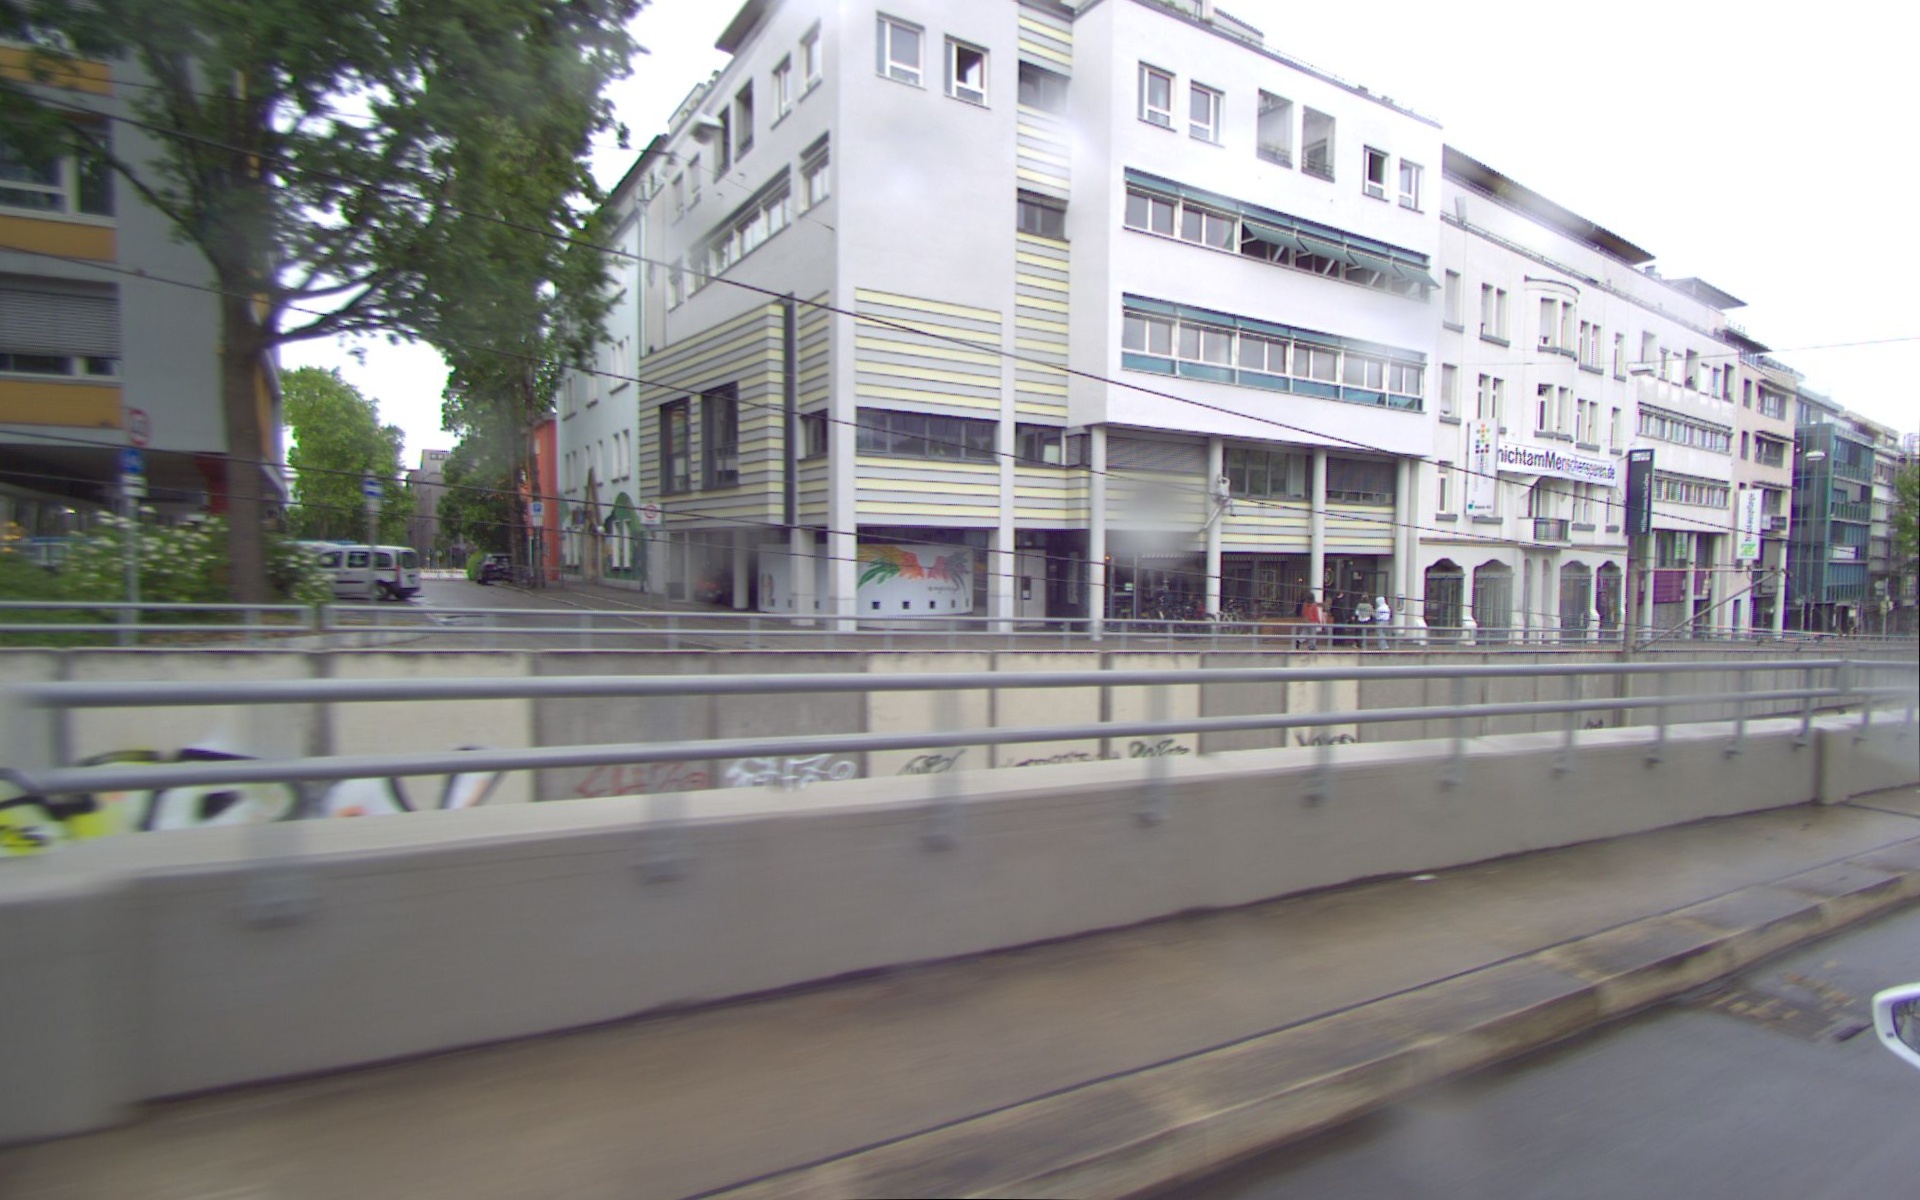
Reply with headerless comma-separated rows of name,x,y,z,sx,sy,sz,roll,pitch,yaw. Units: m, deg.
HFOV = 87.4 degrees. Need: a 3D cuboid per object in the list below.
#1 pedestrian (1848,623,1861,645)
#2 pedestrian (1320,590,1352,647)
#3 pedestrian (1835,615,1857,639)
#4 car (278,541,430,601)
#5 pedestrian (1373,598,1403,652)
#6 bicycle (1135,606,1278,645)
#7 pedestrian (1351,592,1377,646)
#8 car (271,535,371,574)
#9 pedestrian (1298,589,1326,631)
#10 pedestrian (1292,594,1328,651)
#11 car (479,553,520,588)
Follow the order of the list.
pedestrian,70.076,2.633,78.691,0.483,1.694,0.659,1,1,-38
pedestrian,12.171,0.588,32.531,0.663,1.809,0.938,3,2,38
pedestrian,72.543,2.184,82.233,0.945,1.893,0.863,2,2,-18
car,-20.281,-0.959,33.747,3.926,1.811,1.828,2,2,-7
pedestrian,13.693,0.778,32.147,0.660,1.665,0.796,2,2,10
bicycle,7.669,0.779,31.088,4.473,1.057,1.683,1,2,-33
pedestrian,13.449,0.613,33.479,0.660,1.745,0.609,2,2,13
car,-32.345,-2.279,50.968,3.942,1.811,1.821,1,2,-22
pedestrian,12.379,0.337,35.325,0.666,1.438,0.604,1,2,-32
pedestrian,10.345,0.652,29.680,0.663,1.638,0.938,3,2,38
car,-24.339,-1.566,53.000,1.652,1.706,4.038,1,2,-29
